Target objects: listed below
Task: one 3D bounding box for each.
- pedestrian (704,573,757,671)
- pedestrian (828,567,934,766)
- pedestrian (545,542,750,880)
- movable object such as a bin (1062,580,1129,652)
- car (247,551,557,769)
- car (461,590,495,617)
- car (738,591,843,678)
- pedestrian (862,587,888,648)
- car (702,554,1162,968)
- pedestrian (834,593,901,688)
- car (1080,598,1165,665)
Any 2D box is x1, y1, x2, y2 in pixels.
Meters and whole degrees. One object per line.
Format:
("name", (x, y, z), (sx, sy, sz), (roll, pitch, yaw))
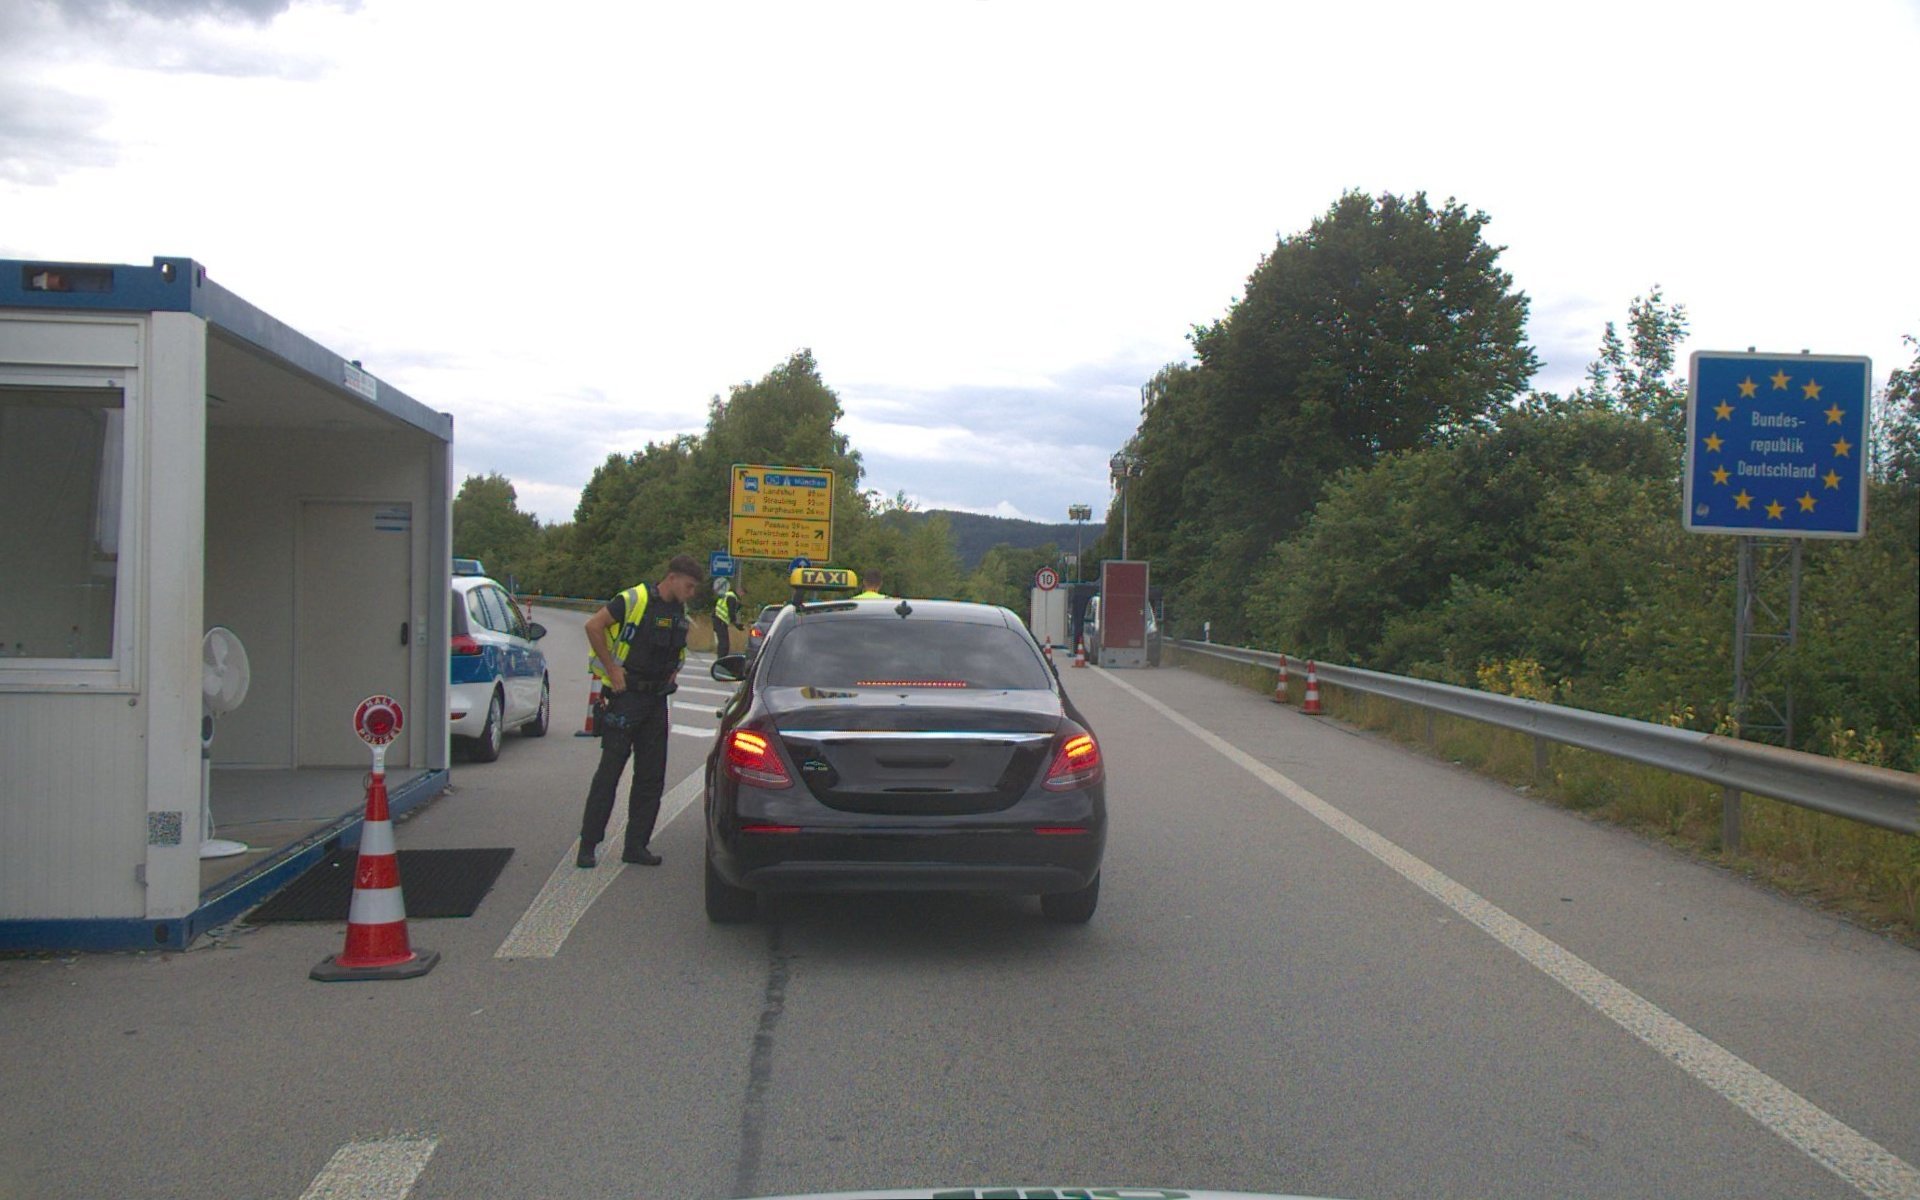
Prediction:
("pedestrian", (-4.343, 0.409, 31.314), (0.893, 1.800, 0.911), (1, 0, -4))
("pedestrian", (-0.747, 0.620, 15.931), (0.795, 1.862, 0.810), (0, 0, 16))
("pedestrian", (-1.711, 0.573, 9.091), (0.801, 1.748, 0.760), (0, 0, 35))
("movable object such as a bin", (4.514, 0.518, 55.547), (1.952, 2.320, 4.168), (1, 0, 1))
("car", (-5.073, 0.494, 15.610), (1.832, 1.774, 4.004), (1, 0, -5))
("car", (-28.618, 0.185, 98.260), (1.825, 1.524, 4.239), (1, 0, -15))
("car", (-3.160, 0.605, 31.548), (1.818, 1.524, 4.253), (1, 0, -4))
("pedestrian", (-2.816, 0.573, 54.912), (0.650, 1.995, 0.760), (0, 0, 15))
("car", (-0.306, 0.637, 8.756), (1.819, 1.623, 4.370), (1, 0, -6))
("pedestrian", (-1.726, 0.748, 30.850), (0.900, 1.727, 0.903), (1, -1, -33))
("car", (4.512, 0.828, 46.703), (1.877, 1.707, 5.083), (3, 0, 0))
